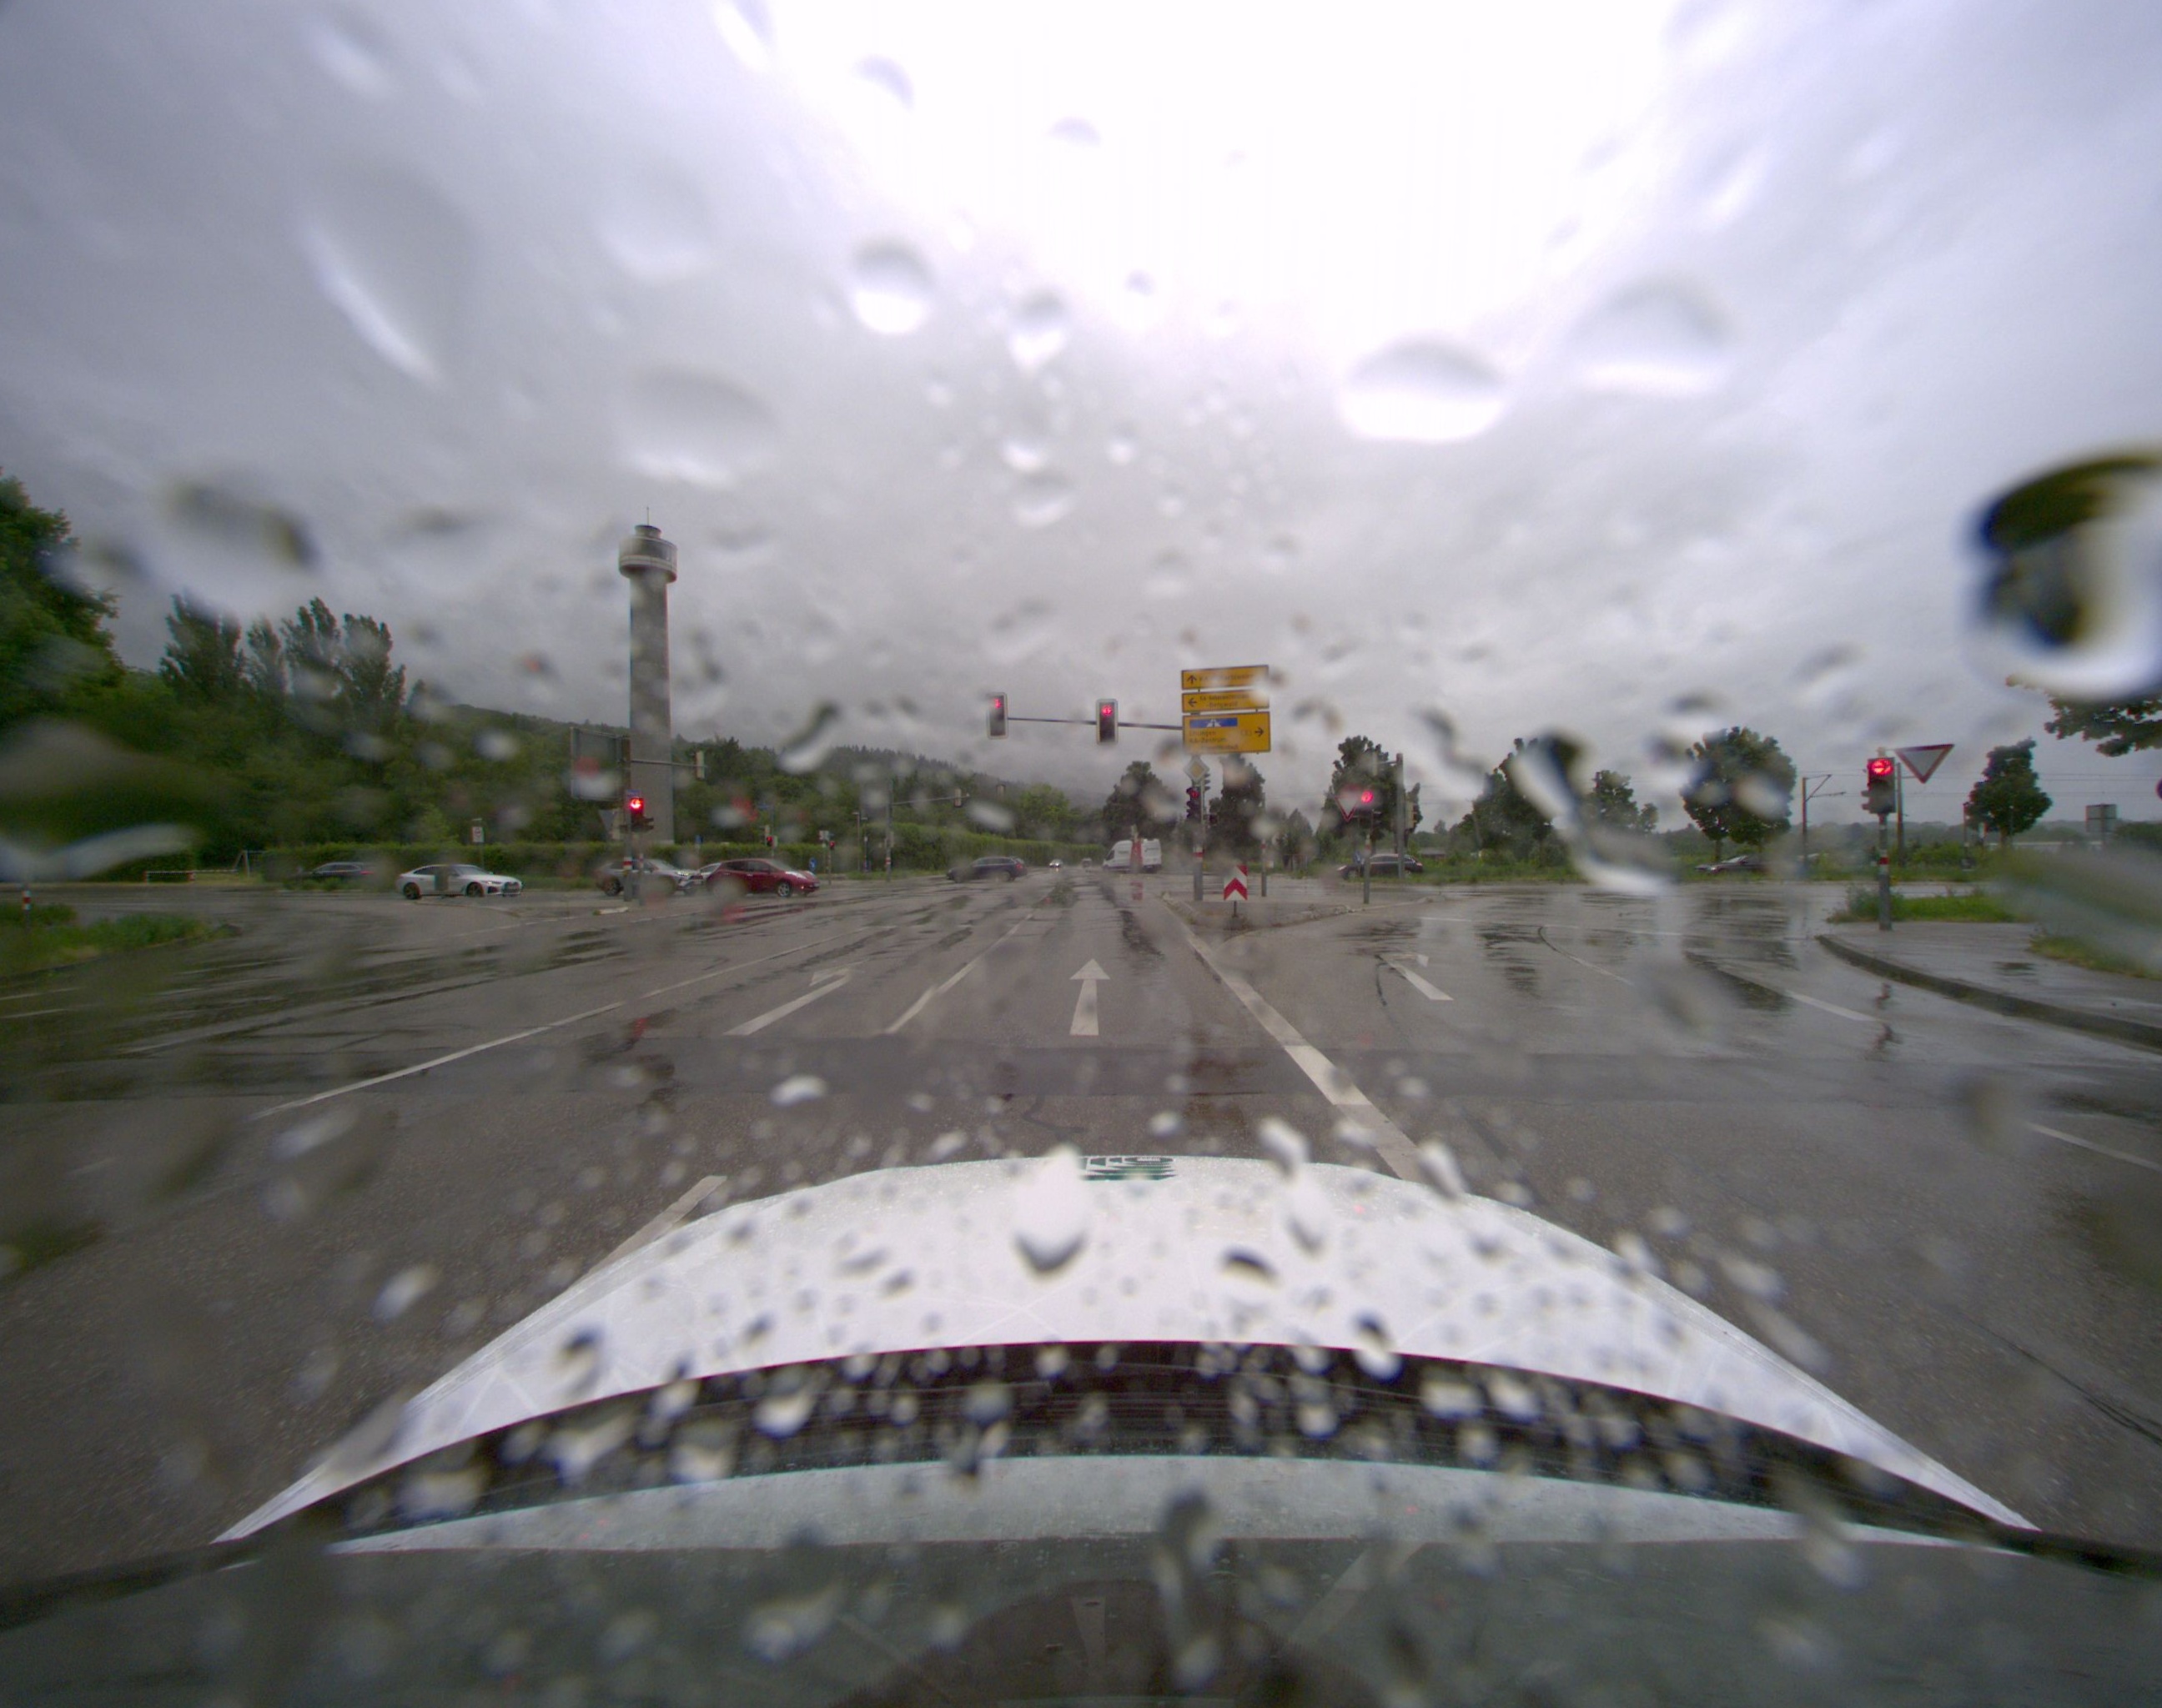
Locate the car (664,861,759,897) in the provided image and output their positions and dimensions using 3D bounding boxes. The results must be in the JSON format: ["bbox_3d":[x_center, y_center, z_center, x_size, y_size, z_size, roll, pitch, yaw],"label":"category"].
[{"bbox_3d":[-21.495,1.431,47.533,4.663,1.915,1.911,-1,0,-6],"label":"car"}]

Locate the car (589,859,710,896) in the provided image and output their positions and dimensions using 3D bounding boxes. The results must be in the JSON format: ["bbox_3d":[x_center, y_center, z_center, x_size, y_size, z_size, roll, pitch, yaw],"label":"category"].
[{"bbox_3d":[-19.315,1.037,36.562,4.501,1.579,1.917,0,0,8],"label":"car"}]

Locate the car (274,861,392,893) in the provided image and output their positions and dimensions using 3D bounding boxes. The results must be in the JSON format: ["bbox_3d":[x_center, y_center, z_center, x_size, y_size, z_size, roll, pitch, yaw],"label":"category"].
[{"bbox_3d":[-42.648,1.271,46.513,4.670,1.639,1.816,-1,0,-10],"label":"car"}]

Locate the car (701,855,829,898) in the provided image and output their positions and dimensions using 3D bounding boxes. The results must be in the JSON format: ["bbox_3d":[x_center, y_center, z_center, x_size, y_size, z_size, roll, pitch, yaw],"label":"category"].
[{"bbox_3d":[-12.456,0.874,32.195,4.353,1.579,1.736,-1,0,6],"label":"car"}]

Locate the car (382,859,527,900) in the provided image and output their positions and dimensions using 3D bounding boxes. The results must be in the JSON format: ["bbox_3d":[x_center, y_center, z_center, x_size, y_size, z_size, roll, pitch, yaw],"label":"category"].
[{"bbox_3d":[-25.810,1.048,33.602,4.853,1.553,1.804,-1,0,8],"label":"car"}]

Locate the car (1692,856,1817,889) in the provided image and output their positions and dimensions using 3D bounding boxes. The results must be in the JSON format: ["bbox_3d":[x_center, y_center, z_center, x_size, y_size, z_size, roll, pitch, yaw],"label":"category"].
[{"bbox_3d":[34.390,0.940,41.691,4.642,1.553,1.827,-1,0,9],"label":"car"}]

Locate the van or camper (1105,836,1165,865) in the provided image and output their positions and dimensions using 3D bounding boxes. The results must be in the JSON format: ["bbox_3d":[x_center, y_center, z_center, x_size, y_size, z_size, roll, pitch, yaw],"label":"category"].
[{"bbox_3d":[4.122,-0.267,63.130,2.169,2.169,4.814,-1,0,-33],"label":"van or camper"}]

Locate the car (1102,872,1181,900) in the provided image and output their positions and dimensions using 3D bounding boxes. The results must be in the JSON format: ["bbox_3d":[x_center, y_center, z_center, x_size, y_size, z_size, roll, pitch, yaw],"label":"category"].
[{"bbox_3d":[3.669,1.927,49.337,4.647,1.553,1.825,-1,0,4],"label":"car"}]

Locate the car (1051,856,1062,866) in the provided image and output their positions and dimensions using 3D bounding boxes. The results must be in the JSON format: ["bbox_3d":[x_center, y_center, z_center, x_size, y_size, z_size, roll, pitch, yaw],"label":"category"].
[{"bbox_3d":[-3.851,1.149,130.130,1.553,1.481,3.361,-1,0,1],"label":"car"}]

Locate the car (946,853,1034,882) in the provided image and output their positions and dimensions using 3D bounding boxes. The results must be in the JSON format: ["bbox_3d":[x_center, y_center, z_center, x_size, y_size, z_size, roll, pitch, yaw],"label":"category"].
[{"bbox_3d":[-5.149,0.753,46.521,4.648,1.553,1.825,-1,0,4],"label":"car"}]

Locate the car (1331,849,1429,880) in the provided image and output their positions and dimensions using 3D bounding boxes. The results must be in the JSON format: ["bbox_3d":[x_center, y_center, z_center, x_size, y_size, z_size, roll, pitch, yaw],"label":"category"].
[{"bbox_3d":[16.171,0.553,44.186,4.648,1.553,1.825,-1,0,4],"label":"car"}]
